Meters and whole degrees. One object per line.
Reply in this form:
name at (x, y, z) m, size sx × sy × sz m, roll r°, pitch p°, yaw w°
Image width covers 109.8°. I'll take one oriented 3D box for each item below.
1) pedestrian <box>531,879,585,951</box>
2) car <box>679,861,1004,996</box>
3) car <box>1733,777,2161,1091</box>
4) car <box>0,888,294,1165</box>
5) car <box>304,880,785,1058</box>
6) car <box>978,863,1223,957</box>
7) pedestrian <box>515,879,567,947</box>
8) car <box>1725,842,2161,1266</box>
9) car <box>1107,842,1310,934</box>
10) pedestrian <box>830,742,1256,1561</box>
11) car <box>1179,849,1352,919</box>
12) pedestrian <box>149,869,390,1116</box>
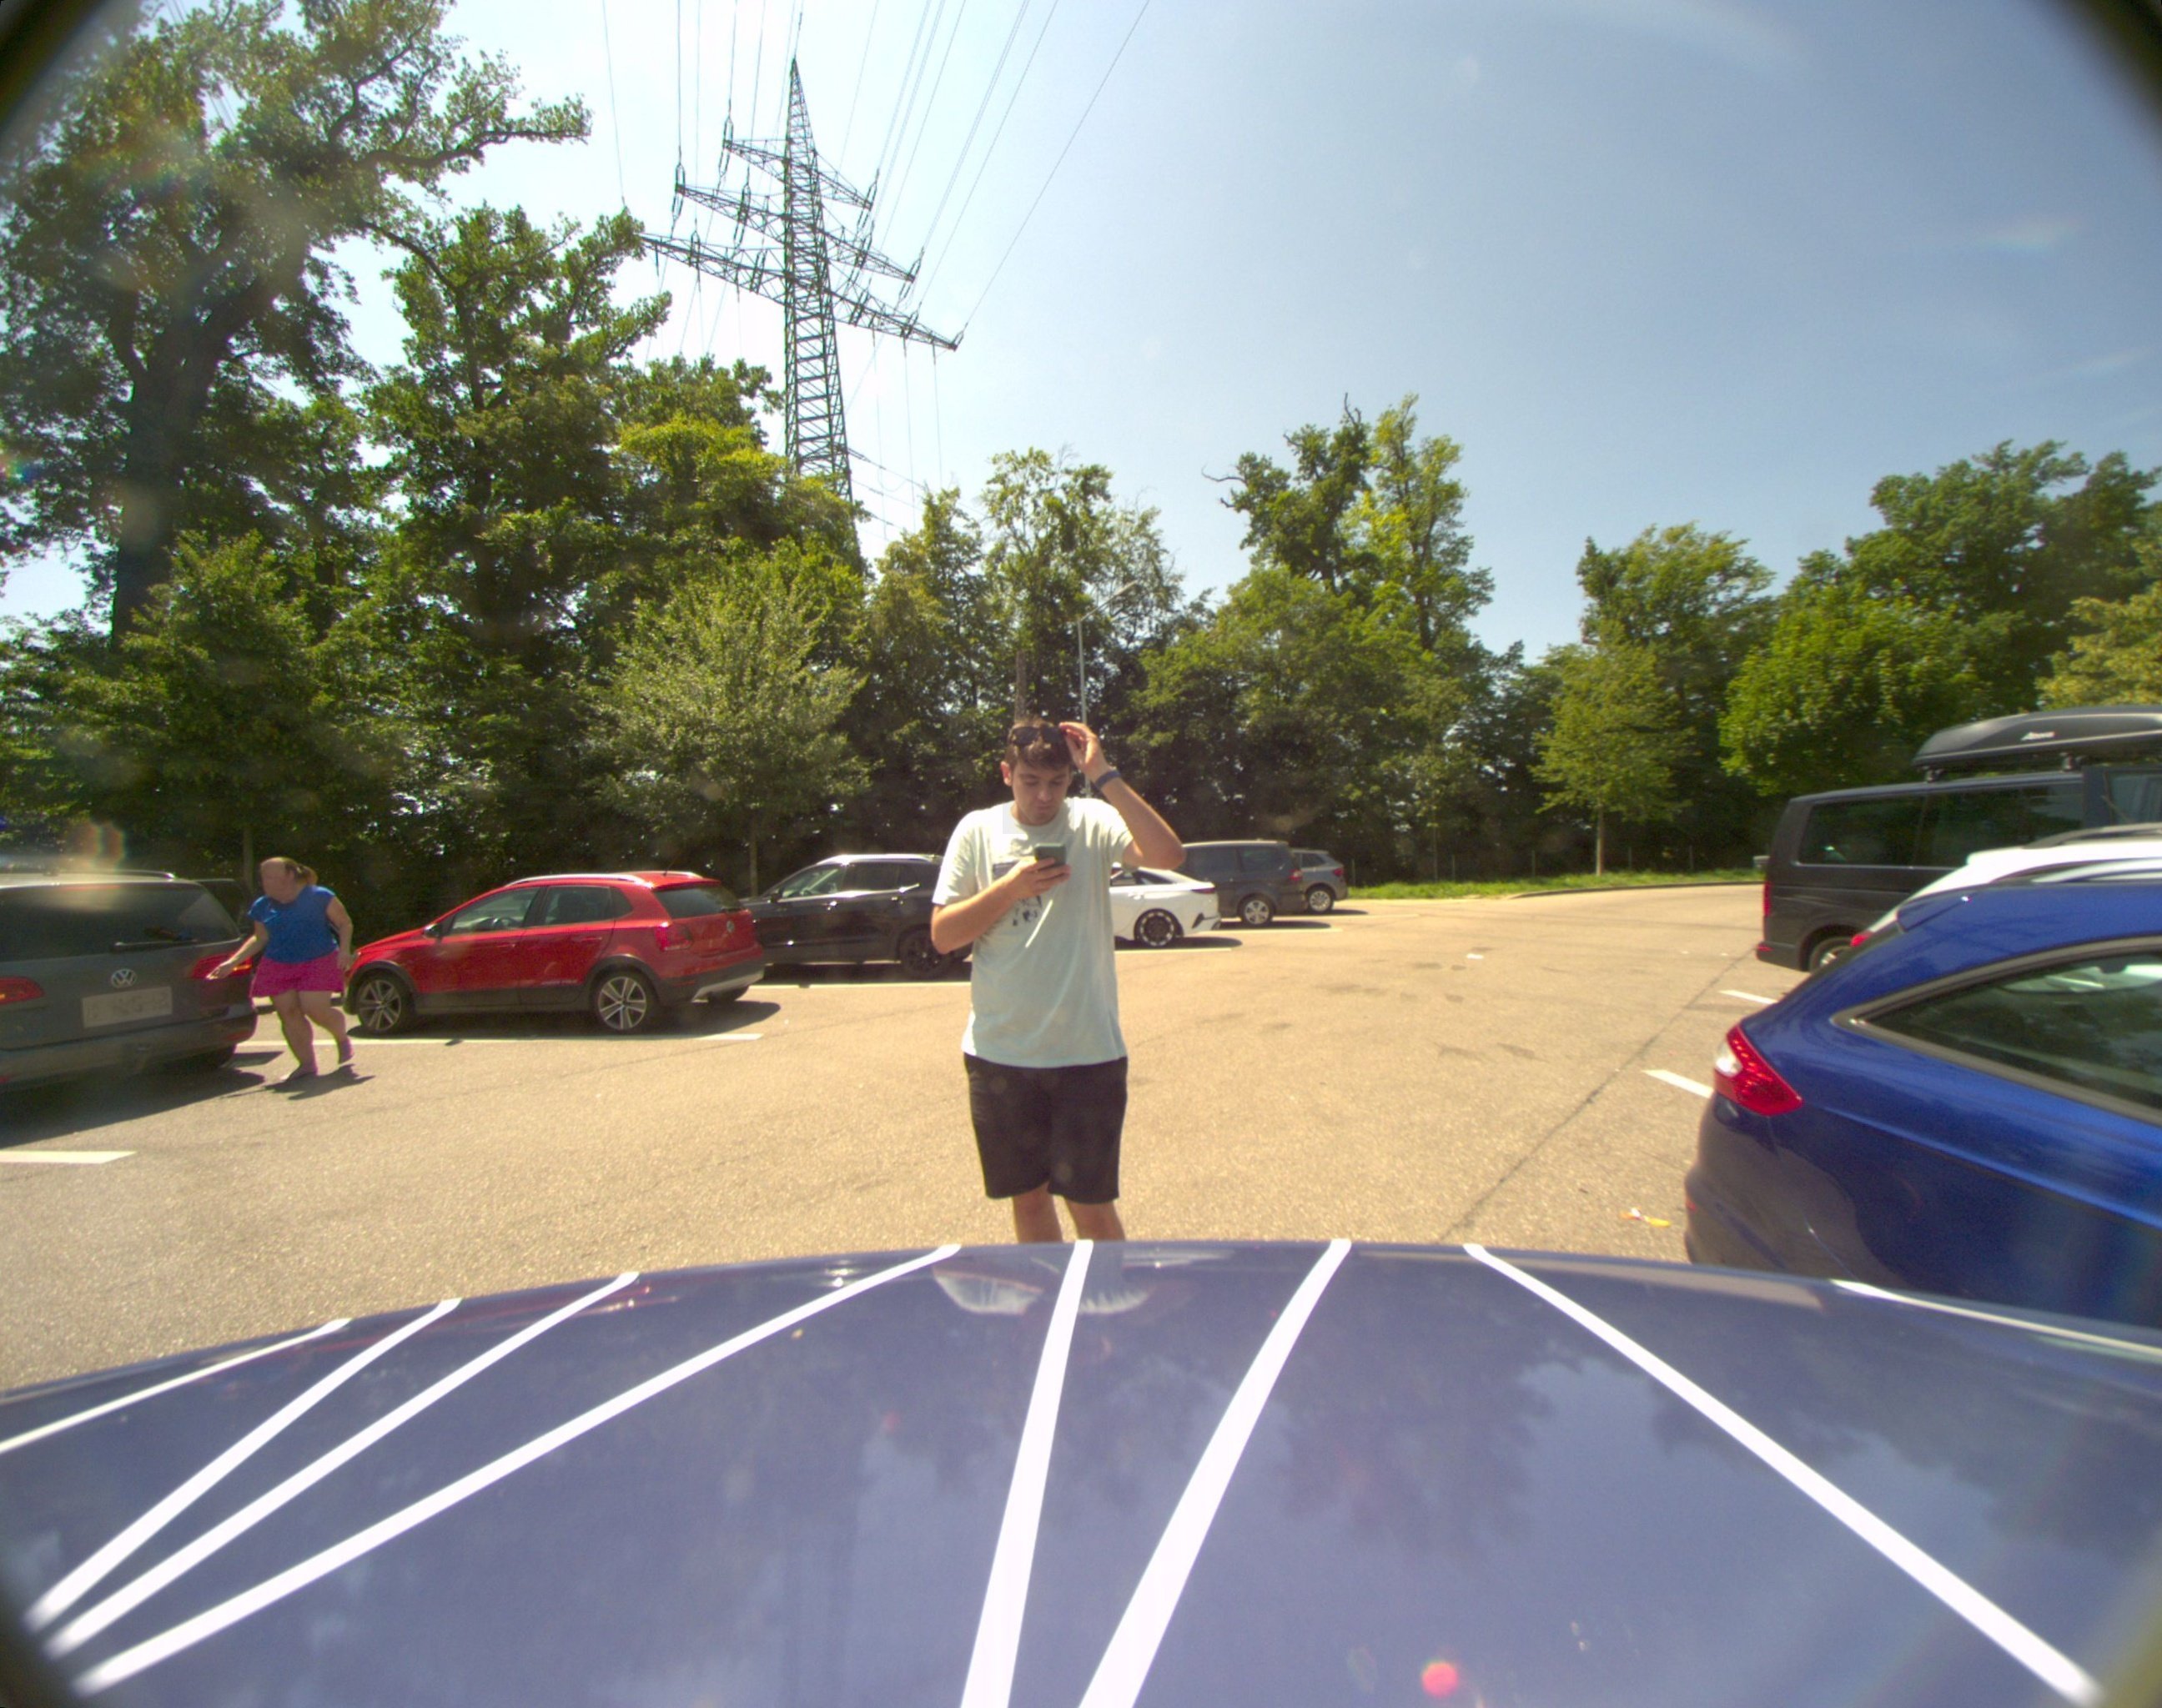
pedestrian at (-10.003, 1.141, 14.532) m, size 0.782 × 1.287 × 0.670 m, roll -1°, pitch 2°, yaw 45°
car at (-3.063, 0.937, 10.283) m, size 3.787 × 1.564 × 1.721 m, roll -1°, pitch 1°, yaw 2°
car at (7.324, 0.434, 4.934) m, size 1.961 × 1.858 × 4.642 m, roll -3°, pitch -1°, yaw -3°
car at (-8.289, 1.108, 5.464) m, size 3.985 × 1.572 × 1.749 m, roll -1°, pitch 1°, yaw 12°
car at (-5.236, 1.067, 7.673) m, size 3.785 × 1.457 × 1.722 m, roll -1°, pitch 1°, yaw 9°
car at (0.368, 0.899, 12.748) m, size 3.819 × 1.377 × 1.722 m, roll -1°, pitch 1°, yaw 6°
pedestrian at (-10.900, 1.167, 15.335) m, size 0.782 × 1.287 × 0.670 m, roll -1°, pitch 2°, yaw 45°
car at (4.876, 0.723, 2.305) m, size 1.741 × 1.524 × 4.642 m, roll -3°, pitch -1°, yaw -2°
car at (2.592, 0.666, 15.474) m, size 3.818 × 1.714 × 1.722 m, roll -1°, pitch 1°, yaw 12°
pedestrian at (-0.082, 0.677, 2.030) m, size 0.890 × 1.831 × 0.622 m, roll -2°, pitch 1°, yaw -1°
car at (4.344, 0.689, 18.176) m, size 3.818 × 1.530 × 1.722 m, roll -1°, pitch 1°, yaw 12°
pedestrian at (-6.075, 0.976, 5.758) m, size 0.920 × 1.672 × 0.733 m, roll -2°, pitch 1°, yaw -13°
